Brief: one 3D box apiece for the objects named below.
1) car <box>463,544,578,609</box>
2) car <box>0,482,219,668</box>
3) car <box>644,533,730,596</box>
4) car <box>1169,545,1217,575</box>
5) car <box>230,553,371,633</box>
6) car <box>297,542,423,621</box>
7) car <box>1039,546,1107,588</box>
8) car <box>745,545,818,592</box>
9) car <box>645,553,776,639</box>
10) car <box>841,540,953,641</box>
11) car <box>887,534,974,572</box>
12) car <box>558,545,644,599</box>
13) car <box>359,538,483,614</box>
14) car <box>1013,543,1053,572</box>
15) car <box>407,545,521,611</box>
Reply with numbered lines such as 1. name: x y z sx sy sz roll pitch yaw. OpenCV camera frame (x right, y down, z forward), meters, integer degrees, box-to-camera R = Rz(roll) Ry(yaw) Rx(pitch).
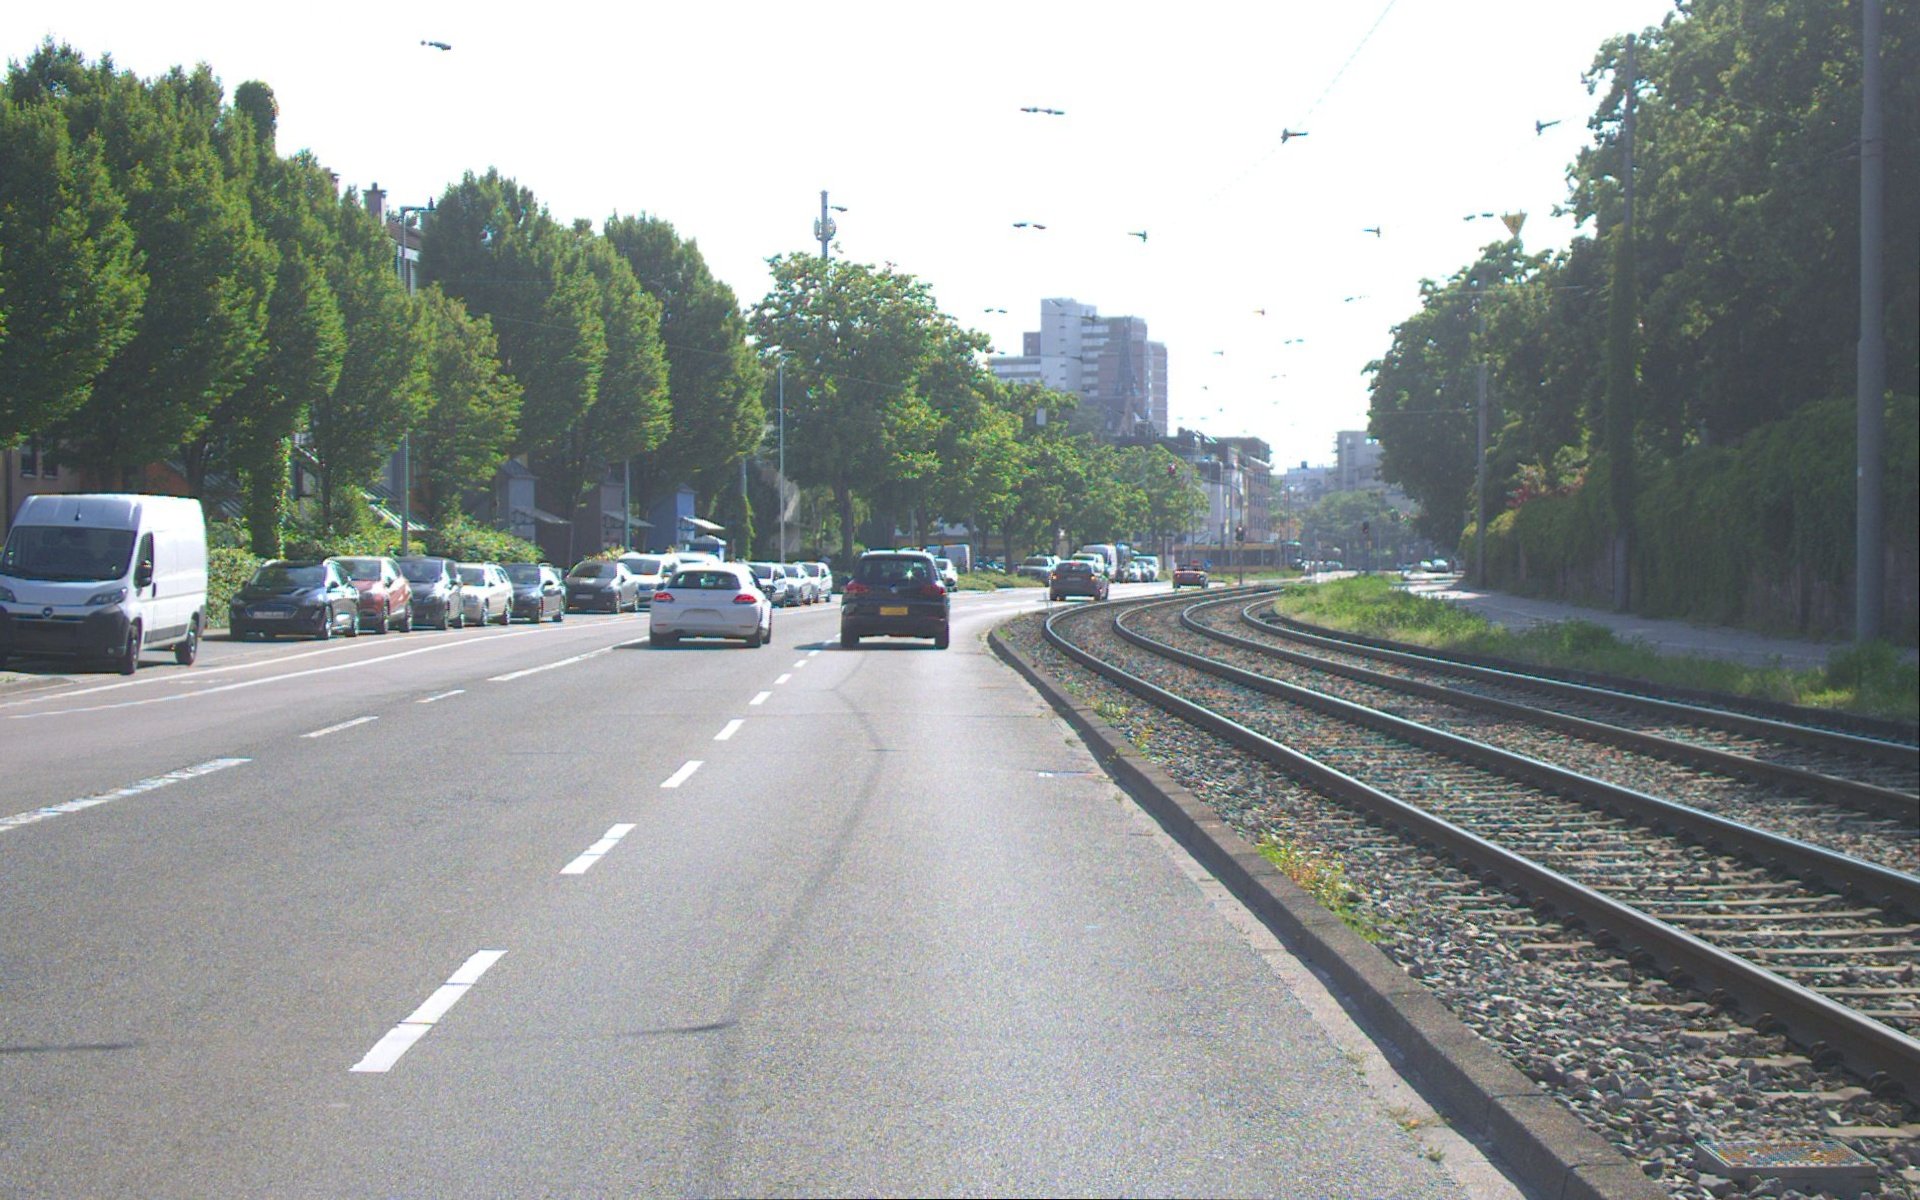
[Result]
1. car: -11.108 -0.620 87.119 1.866 1.539 4.909 2 1 5
2. car: -12.431 -0.409 49.713 2.152 2.449 6.184 2 1 -1
3. car: -8.712 -1.146 109.946 1.763 1.839 4.579 5 1 7
4. car: 11.722 -2.007 173.037 1.812 1.444 3.998 2 1 12
5. car: -12.351 -0.160 64.613 1.652 1.419 4.713 0 1 1
6. car: -12.231 -0.375 70.301 1.762 1.568 4.162 0 0 2
7. car: 4.026 -1.179 122.016 1.812 1.444 3.998 1 1 10
8. car: -6.428 -1.160 124.188 1.763 1.533 3.980 5 1 9
9. car: -4.096 -0.088 56.922 1.864 1.343 4.000 0 1 0
10. car: -1.039 -0.173 58.403 1.811 1.639 4.000 1 1 0
11. car: -1.885 -3.083 223.725 5.377 2.415 2.087 0 1 9
12. car: -10.252 -0.821 98.440 1.616 1.461 4.057 2 1 6
13. car: -11.861 -0.531 75.919 1.762 1.568 4.298 2 1 4
14. car: 4.263 -2.477 199.419 1.732 1.652 3.998 0 1 10
15. car: -11.692 -0.510 81.264 1.712 1.466 4.844 2 0 3
